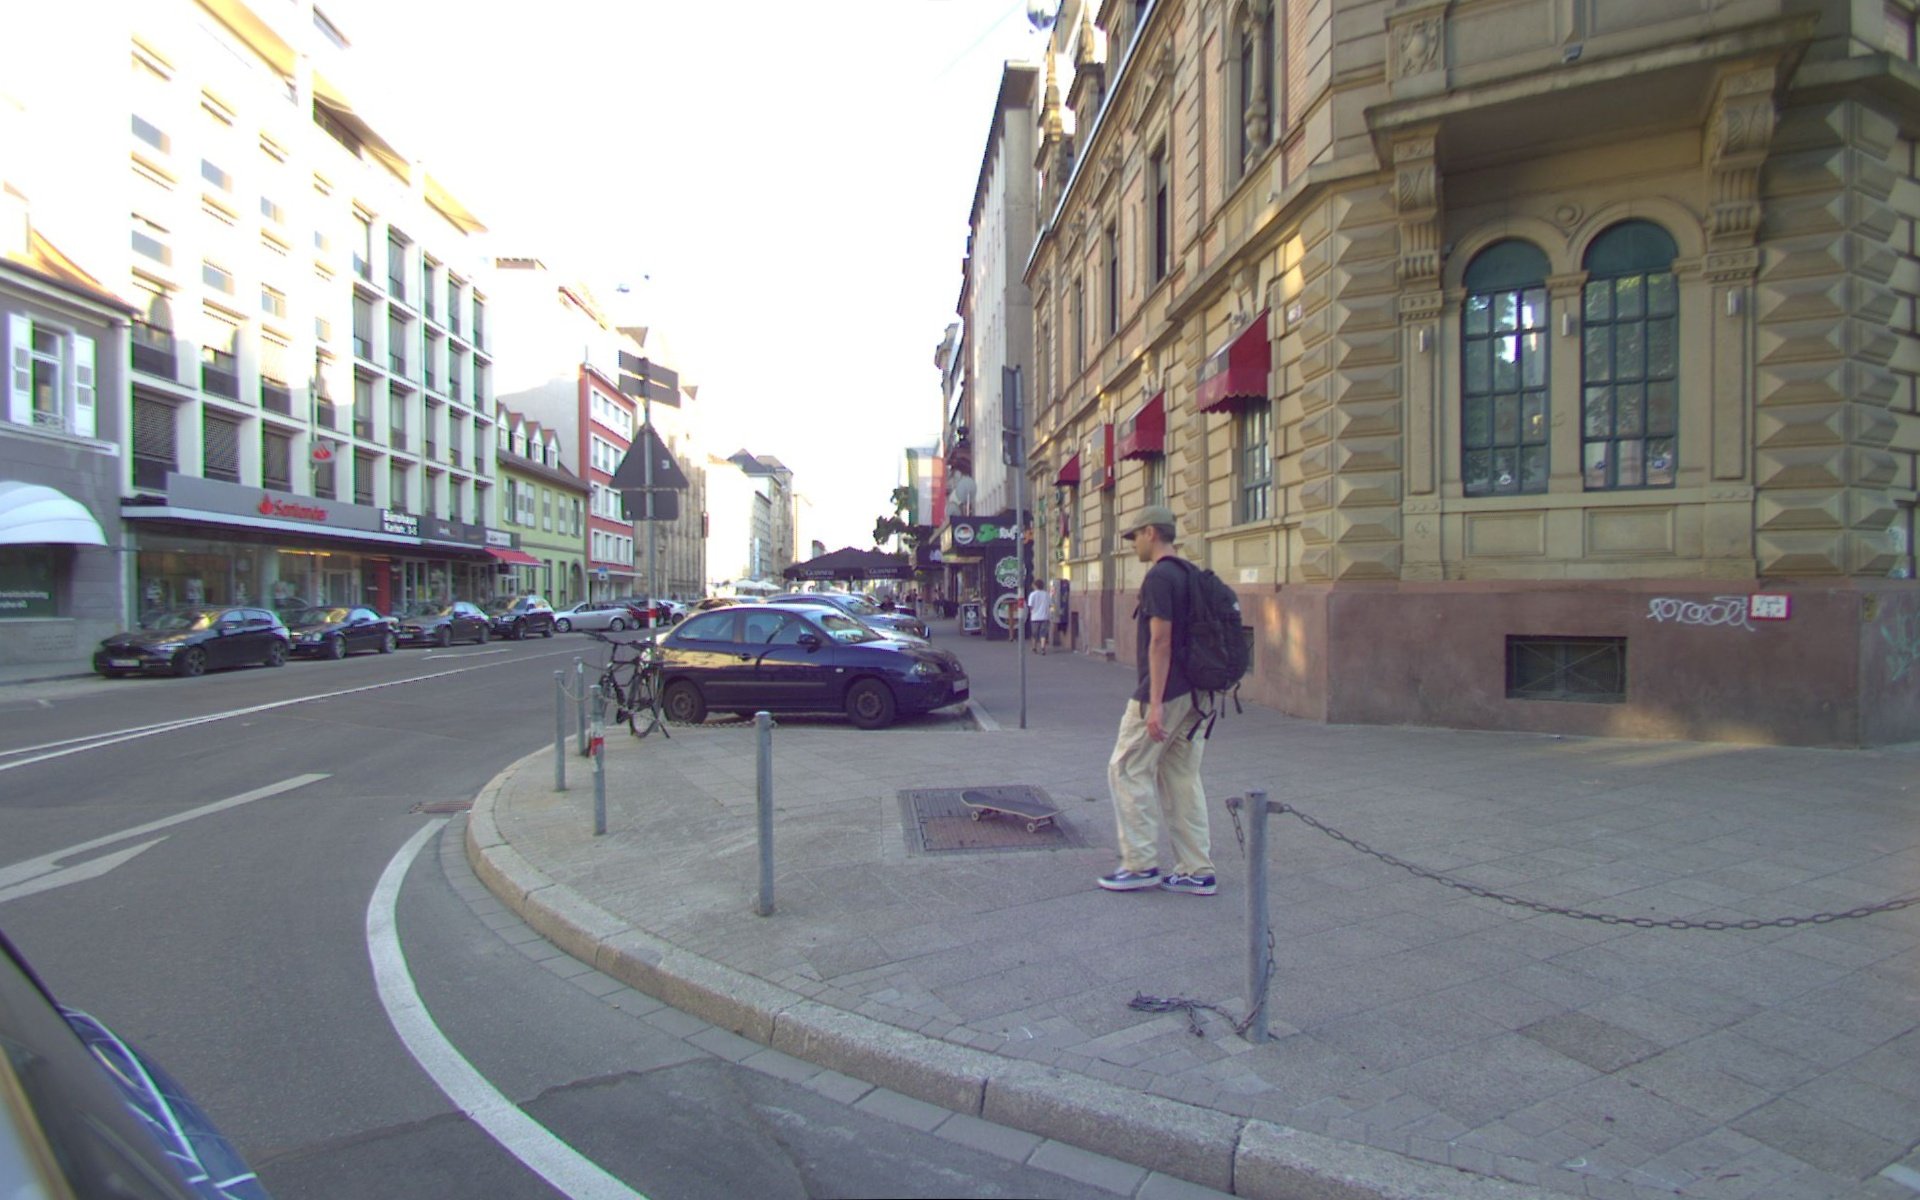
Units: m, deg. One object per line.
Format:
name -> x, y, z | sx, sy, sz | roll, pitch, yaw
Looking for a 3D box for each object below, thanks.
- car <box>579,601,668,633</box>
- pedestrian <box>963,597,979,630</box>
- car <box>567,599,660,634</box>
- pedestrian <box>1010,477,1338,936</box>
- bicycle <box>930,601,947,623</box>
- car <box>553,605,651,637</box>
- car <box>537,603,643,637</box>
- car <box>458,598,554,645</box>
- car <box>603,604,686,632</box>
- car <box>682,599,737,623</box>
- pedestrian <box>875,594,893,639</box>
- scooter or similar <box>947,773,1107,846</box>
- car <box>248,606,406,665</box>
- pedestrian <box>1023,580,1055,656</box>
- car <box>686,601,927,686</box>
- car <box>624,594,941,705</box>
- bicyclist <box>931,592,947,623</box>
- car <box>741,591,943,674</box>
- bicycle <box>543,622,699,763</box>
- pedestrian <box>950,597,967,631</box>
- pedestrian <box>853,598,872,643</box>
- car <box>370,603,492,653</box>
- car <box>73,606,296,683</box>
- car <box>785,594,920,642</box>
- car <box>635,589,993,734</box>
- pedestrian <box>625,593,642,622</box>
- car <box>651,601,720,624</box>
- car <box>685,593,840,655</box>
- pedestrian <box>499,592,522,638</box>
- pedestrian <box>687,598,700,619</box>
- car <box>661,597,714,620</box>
car -> -17.918, 0.857, 53.942 | 4.157, 1.629, 1.759 | 0, 0, -34
pedestrian -> 0.415, 0.527, 39.158 | 0.568, 1.254, 0.676 | 0, -1, -4
car -> -17.547, 0.810, 51.347 | 4.160, 1.689, 1.758 | 0, 0, -38
pedestrian -> 0.975, 0.403, 4.495 | 1.259, 1.752, 0.844 | -1, 1, 24
bicycle -> -1.135, 0.631, 53.243 | 0.756, 1.123, 2.181 | -1, 0, -5
car -> -17.223, 0.962, 48.769 | 4.160, 1.450, 1.758 | 0, 0, -38
car -> -16.751, 0.863, 45.905 | 4.164, 1.450, 1.756 | 0, 0, -43
car -> -16.971, 0.759, 38.050 | 1.807, 1.671, 4.364 | 0, 0, -2
car -> -17.715, 0.976, 56.854 | 4.157, 1.484, 1.759 | 0, 0, -34
car -> -19.494, 0.857, 78.758 | 3.771, 1.766, 1.760 | 0, 0, -28
pedestrian -> -2.435, 0.516, 32.255 | 0.568, 1.427, 0.676 | 0, -1, -4
scooter or similar -> 0.364, 1.170, 5.742 | 0.412, 0.208, 0.883 | -2, 1, -39
car -> -16.662, 0.880, 26.923 | 1.721, 1.398, 4.506 | 0, 0, -5
pedestrian -> 1.712, 0.383, 21.883 | 0.570, 1.621, 0.522 | -2, 0, -3
car -> -2.876, 0.760, 18.961 | 4.223, 1.458, 1.698 | 0, -1, 22
car -> -2.757, 0.749, 15.562 | 4.601, 1.523, 1.754 | -2, -1, 25
bicyclist -> -1.113, 0.407, 53.241 | 0.756, 1.571, 0.813 | -1, -1, -4
car -> -2.565, 0.662, 22.010 | 4.023, 1.669, 1.780 | 0, -1, 22
bicycle -> -3.163, 0.818, 9.636 | 0.719, 1.134, 1.801 | -3, 0, 5
pedestrian -> -0.054, 0.525, 37.580 | 0.568, 1.254, 0.676 | 0, -1, -4
pedestrian -> -3.093, 0.651, 32.125 | 0.568, 1.427, 0.676 | 0, -1, -4
car -> -16.865, 0.848, 32.519 | 1.722, 1.457, 4.561 | 0, 0, -3
car -> -16.245, 0.859, 21.515 | 1.722, 1.458, 4.253 | 0, 0, -4
car -> -4.090, 0.676, 38.425 | 4.812, 1.746, 1.893 | 0, -1, 24
car -> -1.725, 0.732, 12.093 | 3.835, 1.472, 1.729 | -4, -1, 21
pedestrian -> -22.666, 0.528, 70.285 | 0.839, 1.958, 1.012 | 0, 0, 1
car -> -18.657, 0.846, 68.776 | 4.157, 1.484, 1.759 | 0, 0, -34
car -> -5.728, 0.690, 29.397 | 4.018, 1.641, 1.842 | -2, 0, 18
pedestrian -> -20.799, 0.700, 46.856 | 0.752, 2.083, 0.720 | 0, 0, -5
pedestrian -> -22.840, 0.753, 86.754 | 0.839, 1.813, 1.012 | 0, 0, 1
car -> -23.663, 0.743, 87.833 | 4.155, 1.896, 1.760 | 0, 0, -28
